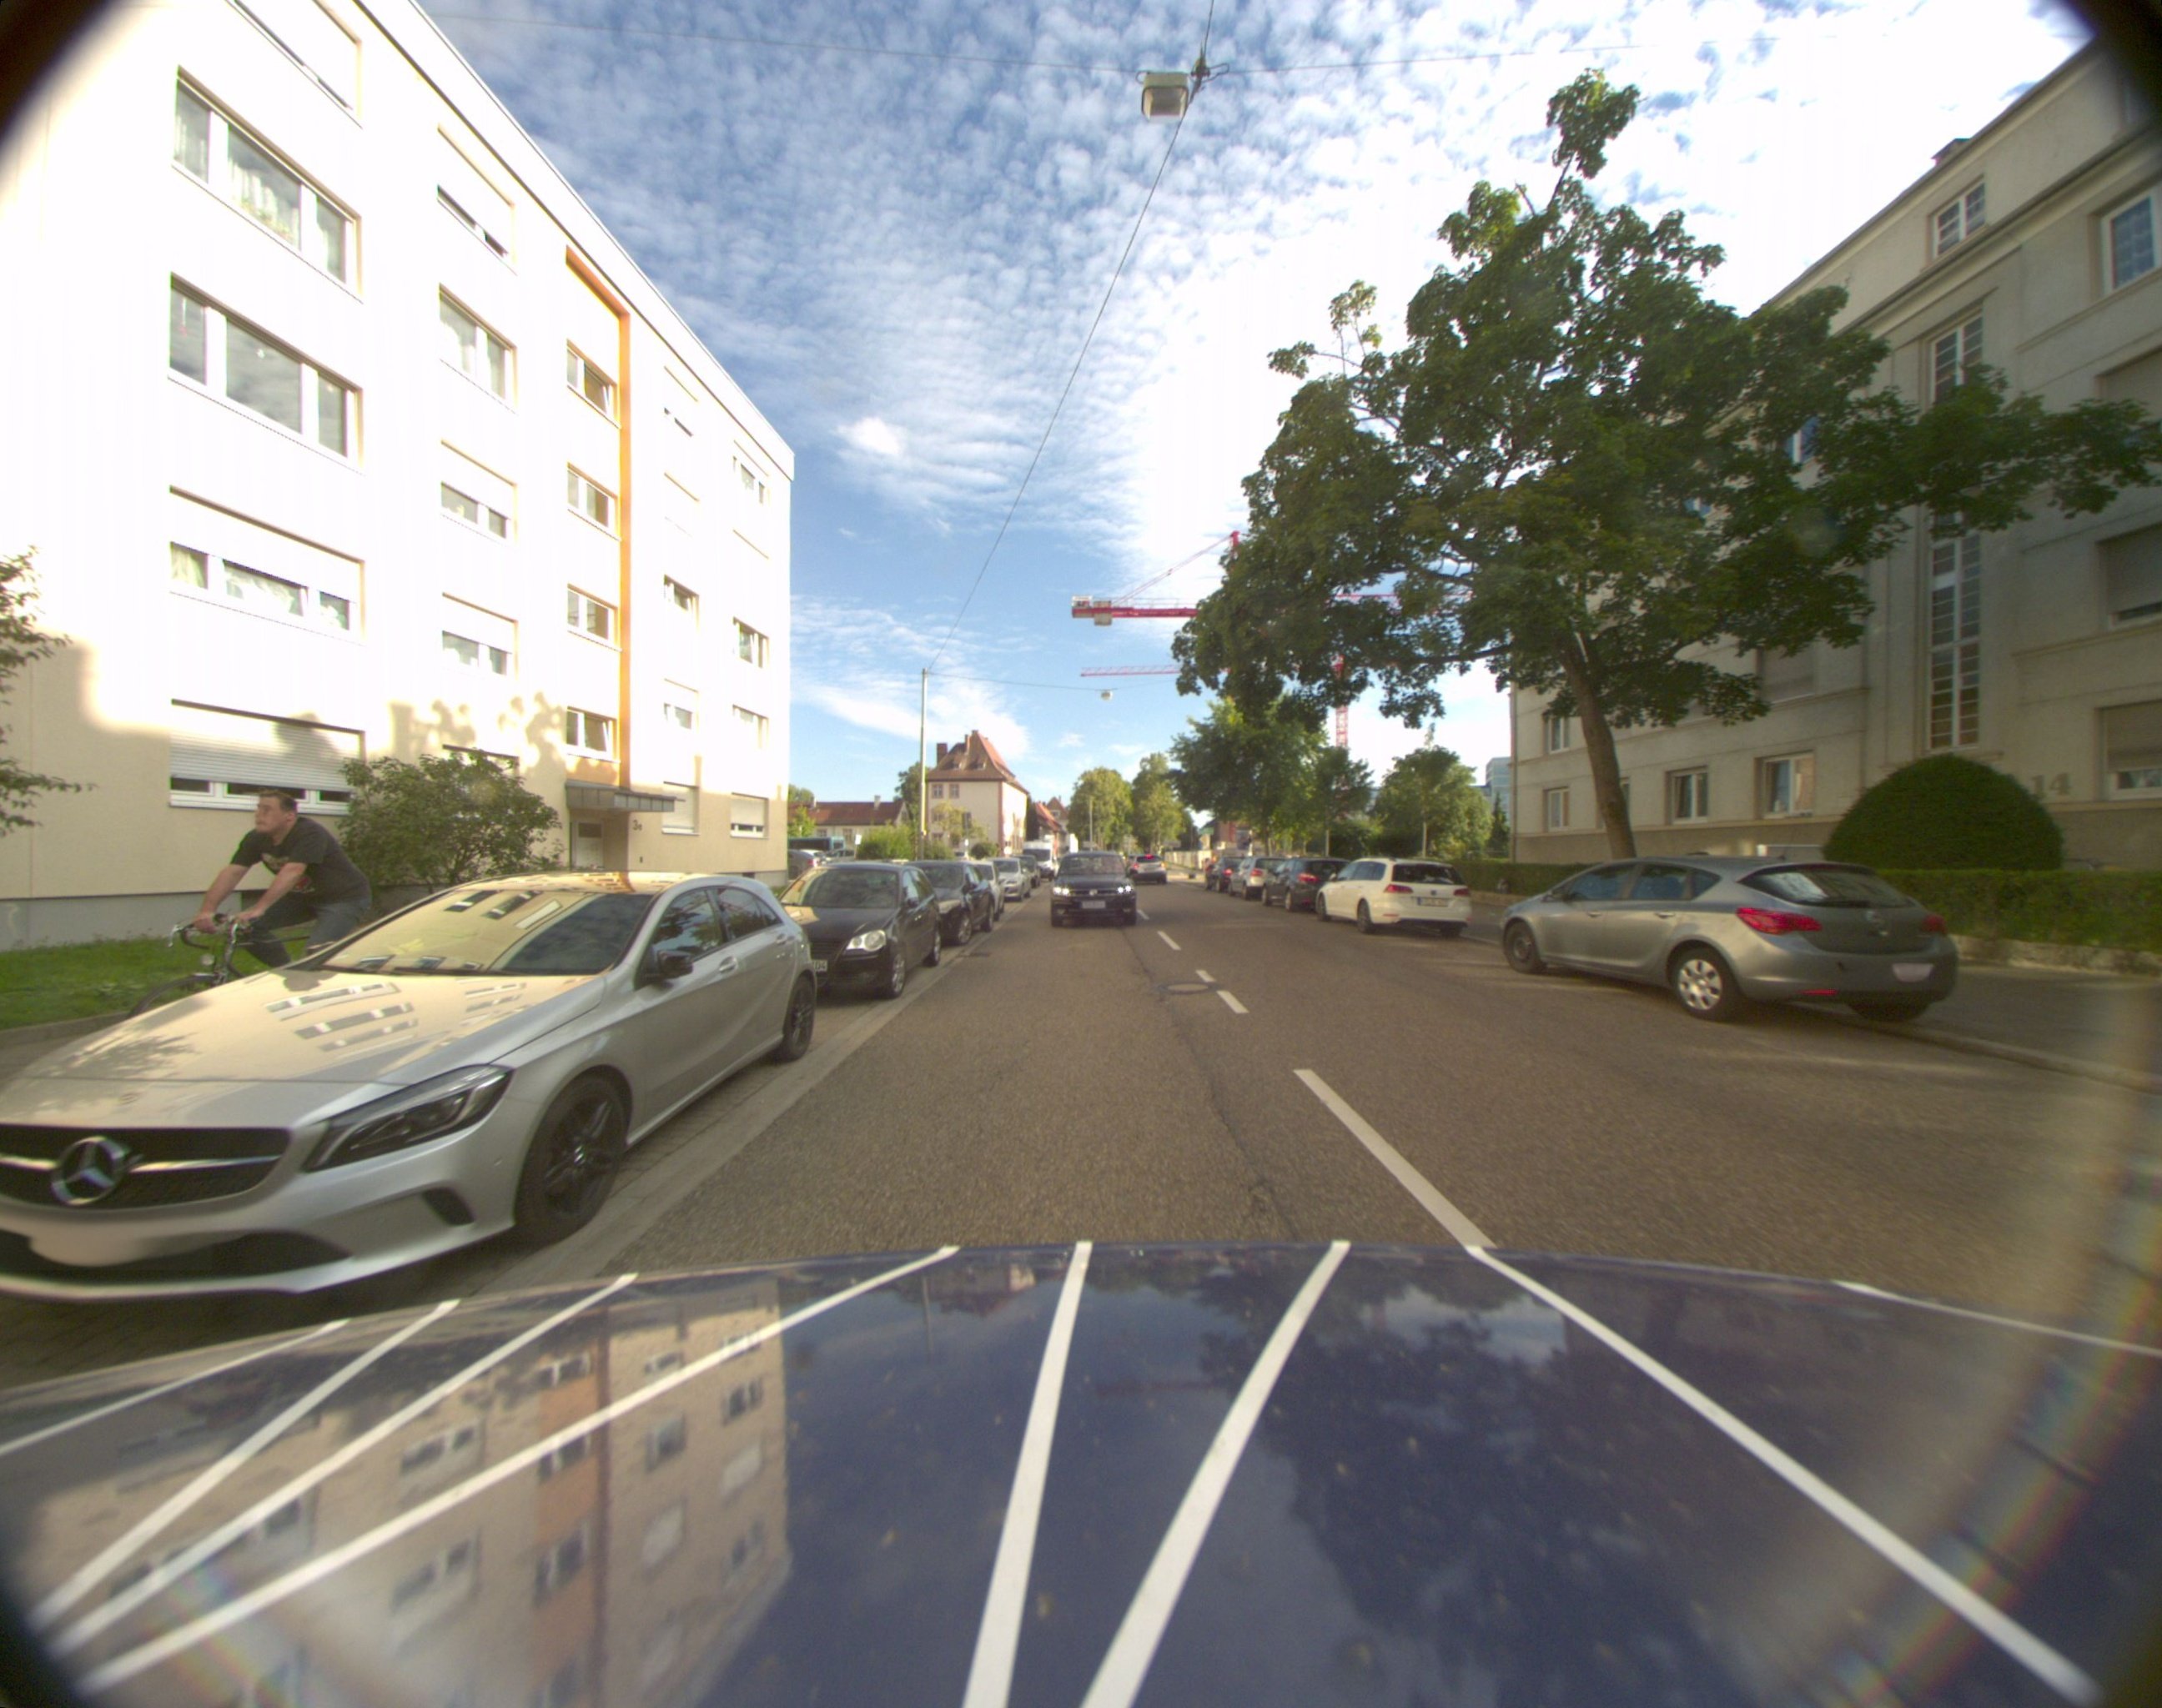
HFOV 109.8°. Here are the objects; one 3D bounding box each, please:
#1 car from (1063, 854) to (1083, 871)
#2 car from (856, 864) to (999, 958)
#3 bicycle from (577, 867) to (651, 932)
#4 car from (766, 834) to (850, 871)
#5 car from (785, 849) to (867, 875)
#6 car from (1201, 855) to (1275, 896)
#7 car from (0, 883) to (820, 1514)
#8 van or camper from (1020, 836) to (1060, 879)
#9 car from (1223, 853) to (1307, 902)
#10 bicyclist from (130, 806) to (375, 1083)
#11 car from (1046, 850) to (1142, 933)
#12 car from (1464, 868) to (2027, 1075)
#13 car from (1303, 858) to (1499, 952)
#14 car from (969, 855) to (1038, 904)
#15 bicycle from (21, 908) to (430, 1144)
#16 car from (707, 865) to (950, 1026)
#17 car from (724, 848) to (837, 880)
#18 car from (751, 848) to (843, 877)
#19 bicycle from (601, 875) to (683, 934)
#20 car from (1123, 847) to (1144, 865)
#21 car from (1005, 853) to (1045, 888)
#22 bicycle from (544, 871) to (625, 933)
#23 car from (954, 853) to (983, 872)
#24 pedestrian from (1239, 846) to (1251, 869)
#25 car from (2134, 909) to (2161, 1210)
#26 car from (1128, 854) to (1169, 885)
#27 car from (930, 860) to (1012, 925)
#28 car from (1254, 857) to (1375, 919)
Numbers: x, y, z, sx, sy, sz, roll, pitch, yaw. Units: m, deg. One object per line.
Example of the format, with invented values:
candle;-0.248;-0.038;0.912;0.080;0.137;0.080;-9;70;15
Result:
car;-0.732;0.780;70.523;1.662;1.477;4.001;-1;0;3
car;-2.699;0.949;14.332;1.687;1.427;4.207;1;0;2
bicycle;-9.074;0.858;14.828;0.446;1.130;1.590;2;2;0
car;-16.845;-0.098;46.996;4.276;2.179;2.368;0;0;8
car;-14.665;0.430;43.864;4.084;1.473;1.872;0;0;9
car;6.335;0.832;31.142;1.932;1.477;4.420;2;0;-2
car;-2.918;0.969;4.028;1.704;1.455;4.179;1;0;-2
van or camper;-2.571;0.220;48.912;2.165;2.512;5.914;2;0;0
car;6.231;0.766;26.188;1.825;1.477;4.369;2;0;1
bicyclist;-5.399;0.547;5.020;0.625;1.668;0.893;0;0;0
car;0.408;0.781;17.465;1.858;1.673;4.002;-1;0;6
car;6.276;0.946;8.158;1.860;1.477;4.683;1;0;-1
car;6.139;0.887;15.315;1.860;1.477;4.798;4;0;0
car;-2.638;0.828;26.719;1.767;1.515;4.330;2;0;2
bicycle;-5.390;0.984;5.019;0.525;1.128;1.929;0;0;0
car;-2.787;0.922;9.315;1.688;1.492;3.873;1;0;-1
car;-14.411;0.465;36.570;4.675;1.473;1.871;0;0;5
car;-14.685;0.443;39.424;4.084;1.473;1.872;0;0;9
bicycle;-8.516;0.952;14.831;0.597;0.992;1.692;0;2;0
car;5.019;0.206;73.018;1.834;1.659;4.084;-1;0;1
car;-2.758;0.789;38.130;1.677;1.593;3.970;3;0;0
bicycle;-9.633;0.904;14.811;0.523;1.068;1.590;2;2;0
car;-10.431;0.765;70.711;1.888;1.709;4.091;-1;0;3
pedestrian;12.607;0.292;58.520;0.743;1.758;0.775;1;0;-1
car;5.900;0.984;1.265;1.742;1.385;4.665;3;0;0
car;3.406;0.741;38.956;1.744;1.493;4.009;-1;0;0
car;-2.718;0.903;19.585;1.688;1.459;4.205;1;0;-3
car;6.182;0.822;20.702;1.860;1.477;4.684;1;0;0
